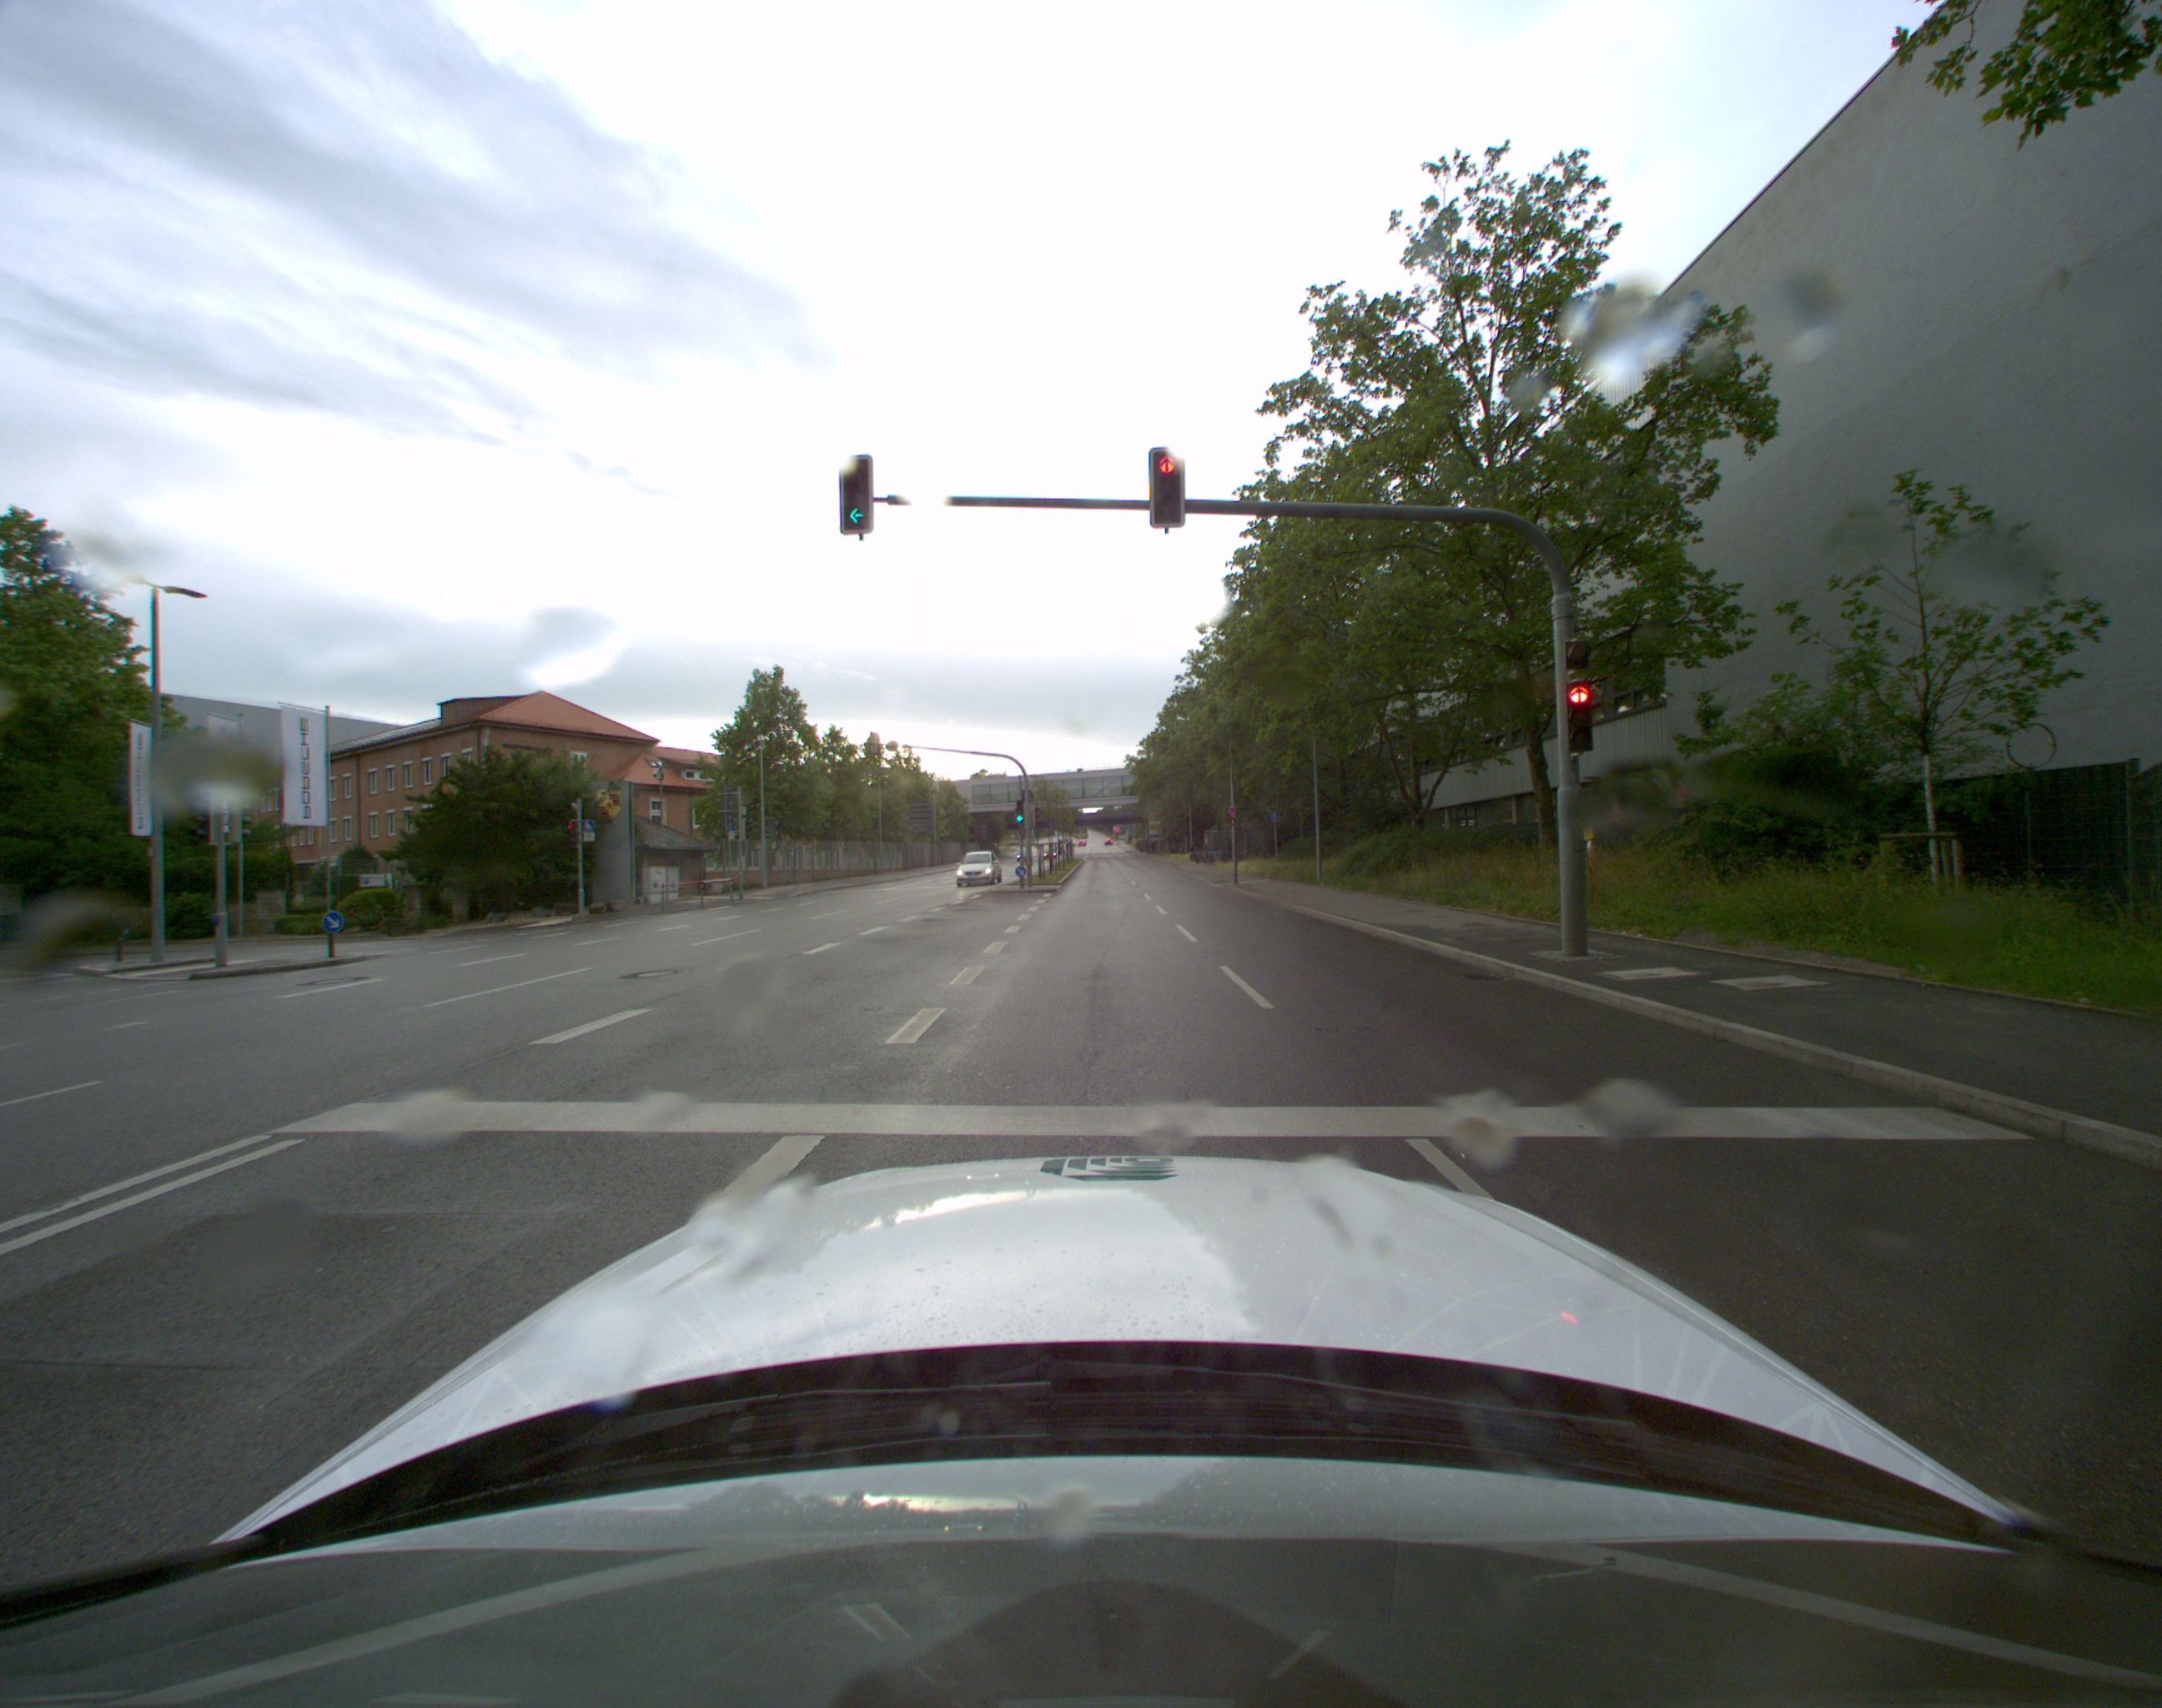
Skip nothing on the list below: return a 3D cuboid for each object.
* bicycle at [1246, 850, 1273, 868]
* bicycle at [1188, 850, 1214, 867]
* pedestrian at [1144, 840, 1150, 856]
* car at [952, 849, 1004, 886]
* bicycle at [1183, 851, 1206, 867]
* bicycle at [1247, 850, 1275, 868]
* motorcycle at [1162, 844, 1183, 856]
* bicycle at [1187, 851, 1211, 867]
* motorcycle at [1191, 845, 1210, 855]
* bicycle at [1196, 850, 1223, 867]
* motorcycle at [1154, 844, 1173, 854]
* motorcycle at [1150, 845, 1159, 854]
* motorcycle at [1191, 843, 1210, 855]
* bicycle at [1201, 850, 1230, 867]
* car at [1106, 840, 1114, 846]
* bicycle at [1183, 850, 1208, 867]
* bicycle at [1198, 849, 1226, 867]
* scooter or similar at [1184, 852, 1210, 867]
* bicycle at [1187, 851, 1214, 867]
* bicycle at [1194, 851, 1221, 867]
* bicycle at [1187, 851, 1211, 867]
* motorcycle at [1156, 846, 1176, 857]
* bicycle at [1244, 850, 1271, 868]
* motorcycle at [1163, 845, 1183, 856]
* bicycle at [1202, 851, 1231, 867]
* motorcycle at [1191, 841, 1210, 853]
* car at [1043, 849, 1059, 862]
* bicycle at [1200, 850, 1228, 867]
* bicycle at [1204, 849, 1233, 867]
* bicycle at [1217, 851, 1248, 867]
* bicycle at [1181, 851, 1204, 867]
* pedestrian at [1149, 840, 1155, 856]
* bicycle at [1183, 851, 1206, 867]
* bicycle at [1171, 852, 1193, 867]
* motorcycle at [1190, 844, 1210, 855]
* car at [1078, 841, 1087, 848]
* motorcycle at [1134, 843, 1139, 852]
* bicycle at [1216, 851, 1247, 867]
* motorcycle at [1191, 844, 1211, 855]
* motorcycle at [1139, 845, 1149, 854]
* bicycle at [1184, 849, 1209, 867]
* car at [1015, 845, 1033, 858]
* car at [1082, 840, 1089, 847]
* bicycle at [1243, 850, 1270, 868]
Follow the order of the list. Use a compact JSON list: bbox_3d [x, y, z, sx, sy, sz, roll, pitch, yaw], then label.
[{"bbox_3d":[13.807,0.380,63.088,1.982,1.328,0.576,0,-1,2],"label":"bicycle"},{"bbox_3d":[9.655,0.380,65.658,1.982,1.328,0.576,0,-1,2],"label":"bicycle"},{"bbox_3d":[8.426,-0.717,104.369,0.619,2.013,0.606,-3,0,2],"label":"pedestrian"},{"bbox_3d":[-4.946,0.603,39.517,1.870,1.624,3.780,-2,0,2],"label":"car"},{"bbox_3d":[9.710,0.437,69.710,1.982,1.328,0.576,0,-1,2],"label":"bicycle"},{"bbox_3d":[13.784,0.370,62.423,1.982,1.328,0.576,0,-1,2],"label":"bicycle"},{"bbox_3d":[10.725,-0.465,95.439,2.354,1.202,0.724,-3,0,9],"label":"motorcycle"},{"bbox_3d":[10.013,0.417,68.991,1.982,1.328,0.576,0,-1,2],"label":"bicycle"},{"bbox_3d":[14.916,-0.528,101.694,2.354,1.202,0.724,-3,0,9],"label":"motorcycle"},{"bbox_3d":[9.676,0.353,61.426,1.982,1.242,0.541,0,-1,2],"label":"bicycle"},{"bbox_3d":[10.766,-0.697,106.275,2.354,1.202,0.724,-3,0,9],"label":"motorcycle"},{"bbox_3d":[10.952,-0.621,121.045,0.789,1.311,2.371,-3,0,-7],"label":"motorcycle"},{"bbox_3d":[15.802,-0.703,107.518,2.354,1.476,0.724,-3,0,9],"label":"motorcycle"},{"bbox_3d":[9.666,0.313,58.655,1.982,1.233,0.541,0,-1,2],"label":"bicycle"},{"bbox_3d":[7.242,-2.797,203.754,1.868,1.497,4.070,0,-1,2],"label":"car"},{"bbox_3d":[9.359,0.389,66.475,1.982,1.328,0.576,0,-1,2],"label":"bicycle"},{"bbox_3d":[9.748,0.277,60.732,1.982,1.340,0.541,0,-1,2],"label":"bicycle"},{"bbox_3d":[9.181,0.428,64.525,1.982,1.138,0.541,0,-1,2],"label":"scooter or similar"},{"bbox_3d":[9.352,0.382,63.758,1.982,1.242,0.541,0,-1,2],"label":"bicycle"},{"bbox_3d":[9.704,0.366,62.374,1.982,1.242,0.541,0,-1,2],"label":"bicycle"},{"bbox_3d":[9.770,0.405,67.408,1.982,1.328,0.576,0,-1,2],"label":"bicycle"},{"bbox_3d":[10.692,-0.326,102.136,2.354,1.202,0.724,-3,0,9],"label":"motorcycle"},{"bbox_3d":[13.844,0.389,63.765,1.982,1.328,0.576,0,-1,2],"label":"bicycle"},{"bbox_3d":[11.026,-0.428,97.521,2.354,1.202,0.724,-3,0,9],"label":"motorcycle"},{"bbox_3d":[9.630,0.372,58.073,1.982,1.094,0.541,0,-1,2],"label":"bicycle"},{"bbox_3d":[15.940,-0.897,108.751,2.354,1.476,0.724,-3,0,9],"label":"motorcycle"},{"bbox_3d":[-3.990,0.164,109.550,1.870,1.624,3.780,-2,0,2],"label":"car"},{"bbox_3d":[9.710,0.326,59.465,1.982,1.242,0.541,0,-1,2],"label":"bicycle"},{"bbox_3d":[9.528,0.295,56.467,1.982,1.216,0.541,0,-1,2],"label":"bicycle"},{"bbox_3d":[10.140,0.333,54.422,1.982,1.094,0.541,0,-1,2],"label":"bicycle"},{"bbox_3d":[9.828,0.452,71.636,1.955,1.328,0.654,0,-1,2],"label":"bicycle"},{"bbox_3d":[9.103,-0.766,103.926,0.619,2.013,0.606,-3,0,2],"label":"pedestrian"},{"bbox_3d":[9.891,0.443,70.944,1.953,1.328,0.576,0,-1,2],"label":"bicycle"},{"bbox_3d":[9.264,0.493,74.976,1.955,1.328,0.654,0,-1,2],"label":"bicycle"},{"bbox_3d":[14.713,-0.531,100.674,2.354,1.202,0.724,-3,0,9],"label":"motorcycle"},{"bbox_3d":[0.430,-2.468,207.563,1.986,1.762,4.002,0,-1,2],"label":"car"},{"bbox_3d":[9.911,-1.103,145.304,0.787,1.533,2.376,-3,0,0],"label":"motorcycle"},{"bbox_3d":[10.160,0.341,54.991,1.982,1.094,0.541,0,-1,2],"label":"bicycle"},{"bbox_3d":[14.622,-0.566,99.456,2.354,1.202,0.724,-3,0,9],"label":"motorcycle"},{"bbox_3d":[9.720,-0.703,126.125,0.792,1.311,2.363,-3,0,-16],"label":"motorcycle"},{"bbox_3d":[9.685,0.352,68.145,1.982,1.430,0.723,0,-1,2],"label":"bicycle"},{"bbox_3d":[-7.296,-0.295,104.829,1.870,1.624,3.780,-2,0,2],"label":"car"},{"bbox_3d":[1.154,-2.668,214.111,1.877,1.762,3.970,0,-1,2],"label":"car"},{"bbox_3d":[13.874,0.398,64.389,1.982,1.328,0.576,0,-1,2],"label":"bicycle"}]
